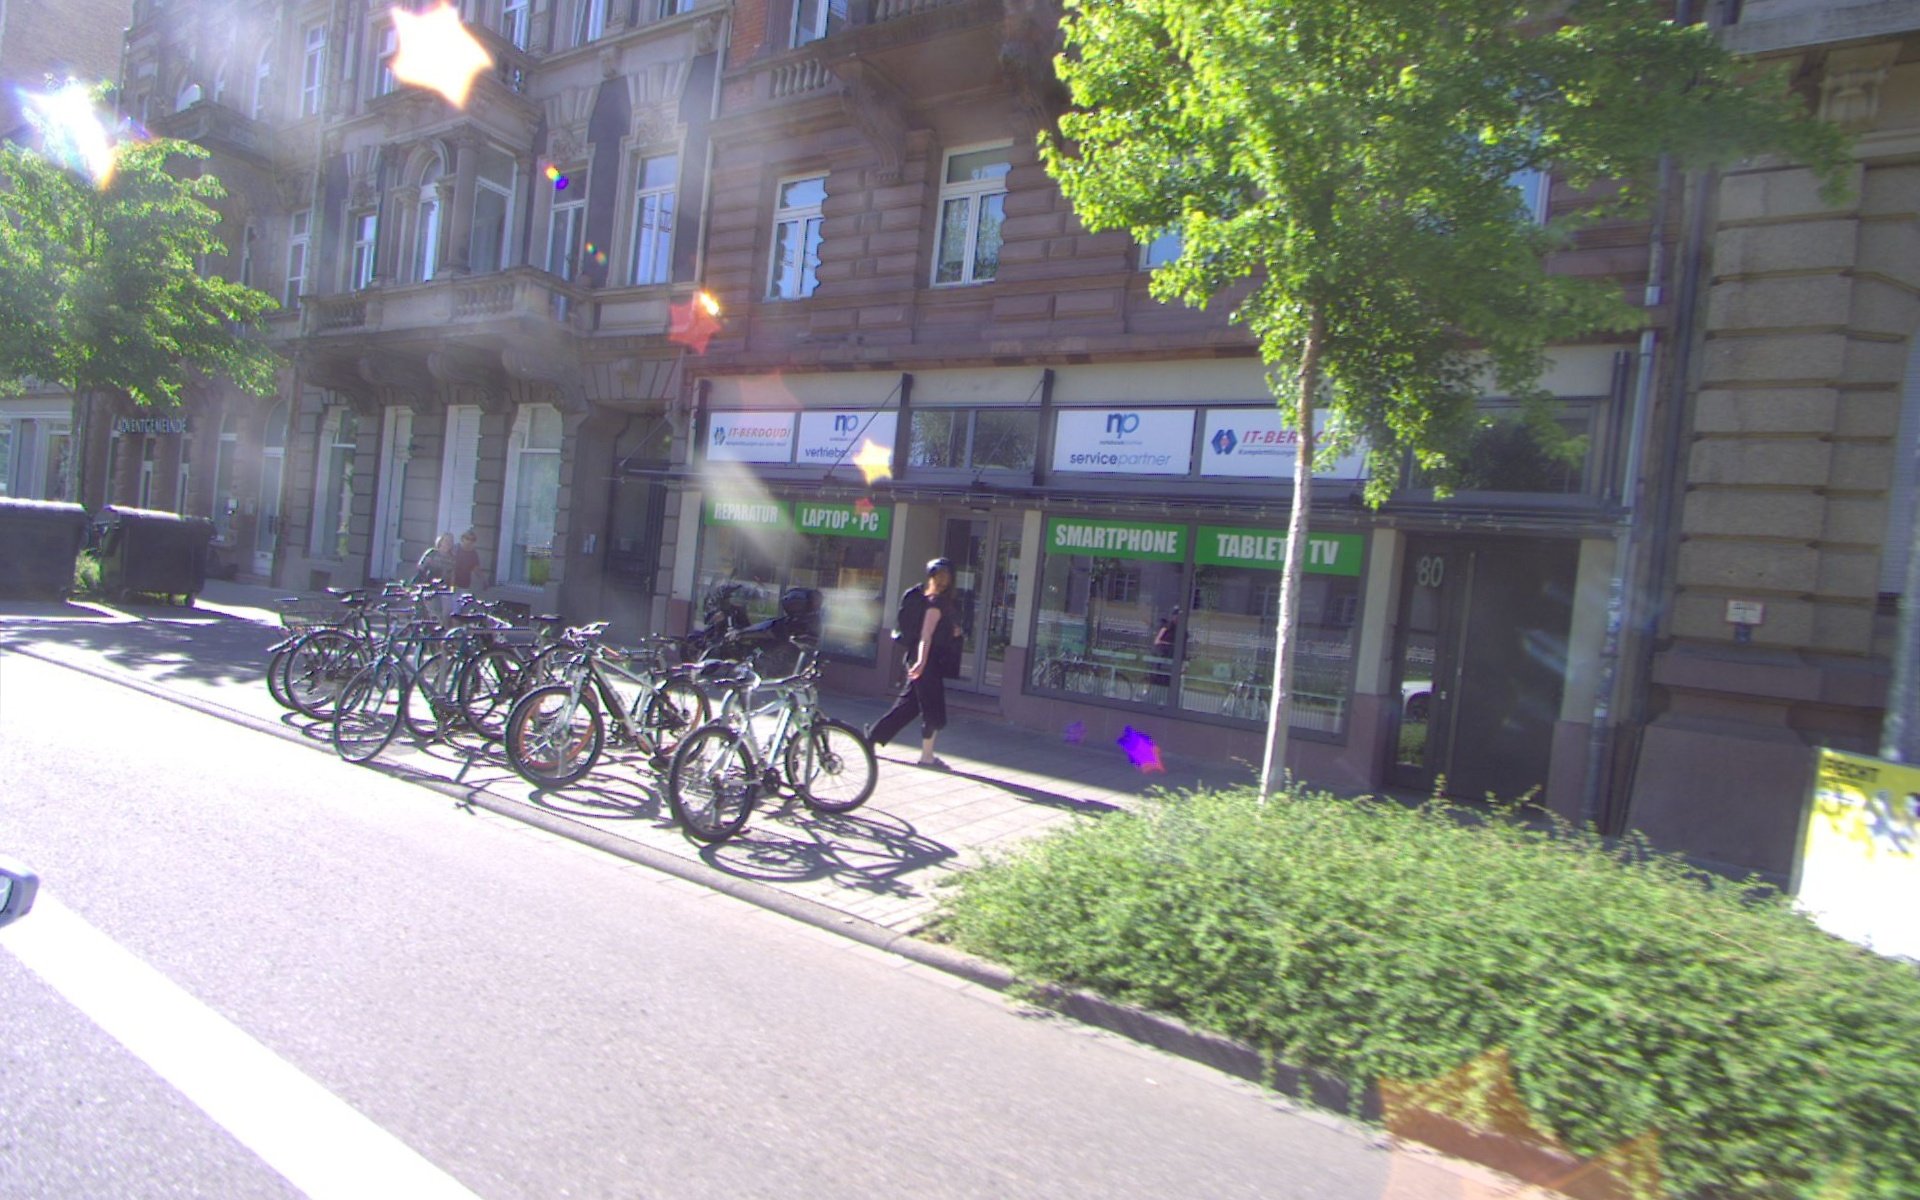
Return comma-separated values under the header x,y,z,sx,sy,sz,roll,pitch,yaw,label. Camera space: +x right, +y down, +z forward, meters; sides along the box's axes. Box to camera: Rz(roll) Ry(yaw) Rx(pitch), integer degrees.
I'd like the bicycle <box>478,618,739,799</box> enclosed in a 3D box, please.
x,y,z,sx,sy,sz,roll,pitch,yaw,label
-2.406,0.702,7.140,0.561,1.069,1.817,6,1,26,bicycle

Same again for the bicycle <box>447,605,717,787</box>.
x,y,z,sx,sy,sz,roll,pitch,yaw,label
-2.666,0.645,7.355,0.428,1.123,1.979,6,1,29,bicycle

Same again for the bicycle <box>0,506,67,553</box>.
x,y,z,sx,sy,sz,roll,pitch,yaw,label
-26.051,-1.984,28.173,2.144,1.120,0.876,6,3,29,bicycle

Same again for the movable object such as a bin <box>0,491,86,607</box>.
x,y,z,sx,sy,sz,roll,pitch,yaw,label
-13.569,-0.769,14.350,1.618,1.482,1.270,9,3,36,movable object such as a bin

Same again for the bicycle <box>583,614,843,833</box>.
x,y,z,sx,sy,sz,roll,pitch,yaw,label
-1.504,0.741,6.504,0.367,1.193,1.869,6,0,29,bicycle

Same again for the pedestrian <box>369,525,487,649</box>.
x,y,z,sx,sy,sz,roll,pitch,yaw,label
-7.490,-0.170,14.179,1.062,1.587,0.951,8,2,31,pedestrian

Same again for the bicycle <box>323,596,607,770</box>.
x,y,z,sx,sy,sz,roll,pitch,yaw,label
-3.715,0.568,7.833,0.477,1.117,2.290,6,1,17,bicycle

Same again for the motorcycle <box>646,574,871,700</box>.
x,y,z,sx,sy,sz,roll,pitch,yaw,label
-2.634,0.442,12.909,2.932,1.282,0.866,6,0,32,motorcycle

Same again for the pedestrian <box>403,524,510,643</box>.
x,y,z,sx,sy,sz,roll,pitch,yaw,label
-7.585,-0.237,15.167,0.976,1.661,0.971,8,2,32,pedestrian

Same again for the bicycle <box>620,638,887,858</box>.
x,y,z,sx,sy,sz,roll,pitch,yaw,label
-1.205,0.830,6.338,0.509,1.123,1.894,6,1,27,bicycle

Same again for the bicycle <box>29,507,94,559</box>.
x,y,z,sx,sy,sz,roll,pitch,yaw,label
-23.597,-1.759,26.423,1.771,1.216,0.748,6,1,32,bicycle

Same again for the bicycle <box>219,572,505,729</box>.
x,y,z,sx,sy,sz,roll,pitch,yaw,label
-4.942,0.386,8.498,0.600,1.122,2.046,6,2,26,bicycle

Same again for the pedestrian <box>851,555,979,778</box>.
x,y,z,sx,sy,sz,roll,pitch,yaw,label
-0.365,0.533,8.633,0.885,1.760,0.848,5,4,4,pedestrian

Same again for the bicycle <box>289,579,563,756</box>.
x,y,z,sx,sy,sz,roll,pitch,yaw,label
-4.065,0.451,7.891,0.421,1.170,2.150,6,3,18,bicycle

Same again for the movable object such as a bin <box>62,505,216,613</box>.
x,y,z,sx,sy,sz,roll,pitch,yaw,label
-12.892,-0.633,15.805,1.720,1.515,1.373,6,2,33,movable object such as a bin

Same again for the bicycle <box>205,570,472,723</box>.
x,y,z,sx,sy,sz,roll,pitch,yaw,label
-5.284,0.355,8.705,0.473,1.140,1.976,7,4,26,bicycle
